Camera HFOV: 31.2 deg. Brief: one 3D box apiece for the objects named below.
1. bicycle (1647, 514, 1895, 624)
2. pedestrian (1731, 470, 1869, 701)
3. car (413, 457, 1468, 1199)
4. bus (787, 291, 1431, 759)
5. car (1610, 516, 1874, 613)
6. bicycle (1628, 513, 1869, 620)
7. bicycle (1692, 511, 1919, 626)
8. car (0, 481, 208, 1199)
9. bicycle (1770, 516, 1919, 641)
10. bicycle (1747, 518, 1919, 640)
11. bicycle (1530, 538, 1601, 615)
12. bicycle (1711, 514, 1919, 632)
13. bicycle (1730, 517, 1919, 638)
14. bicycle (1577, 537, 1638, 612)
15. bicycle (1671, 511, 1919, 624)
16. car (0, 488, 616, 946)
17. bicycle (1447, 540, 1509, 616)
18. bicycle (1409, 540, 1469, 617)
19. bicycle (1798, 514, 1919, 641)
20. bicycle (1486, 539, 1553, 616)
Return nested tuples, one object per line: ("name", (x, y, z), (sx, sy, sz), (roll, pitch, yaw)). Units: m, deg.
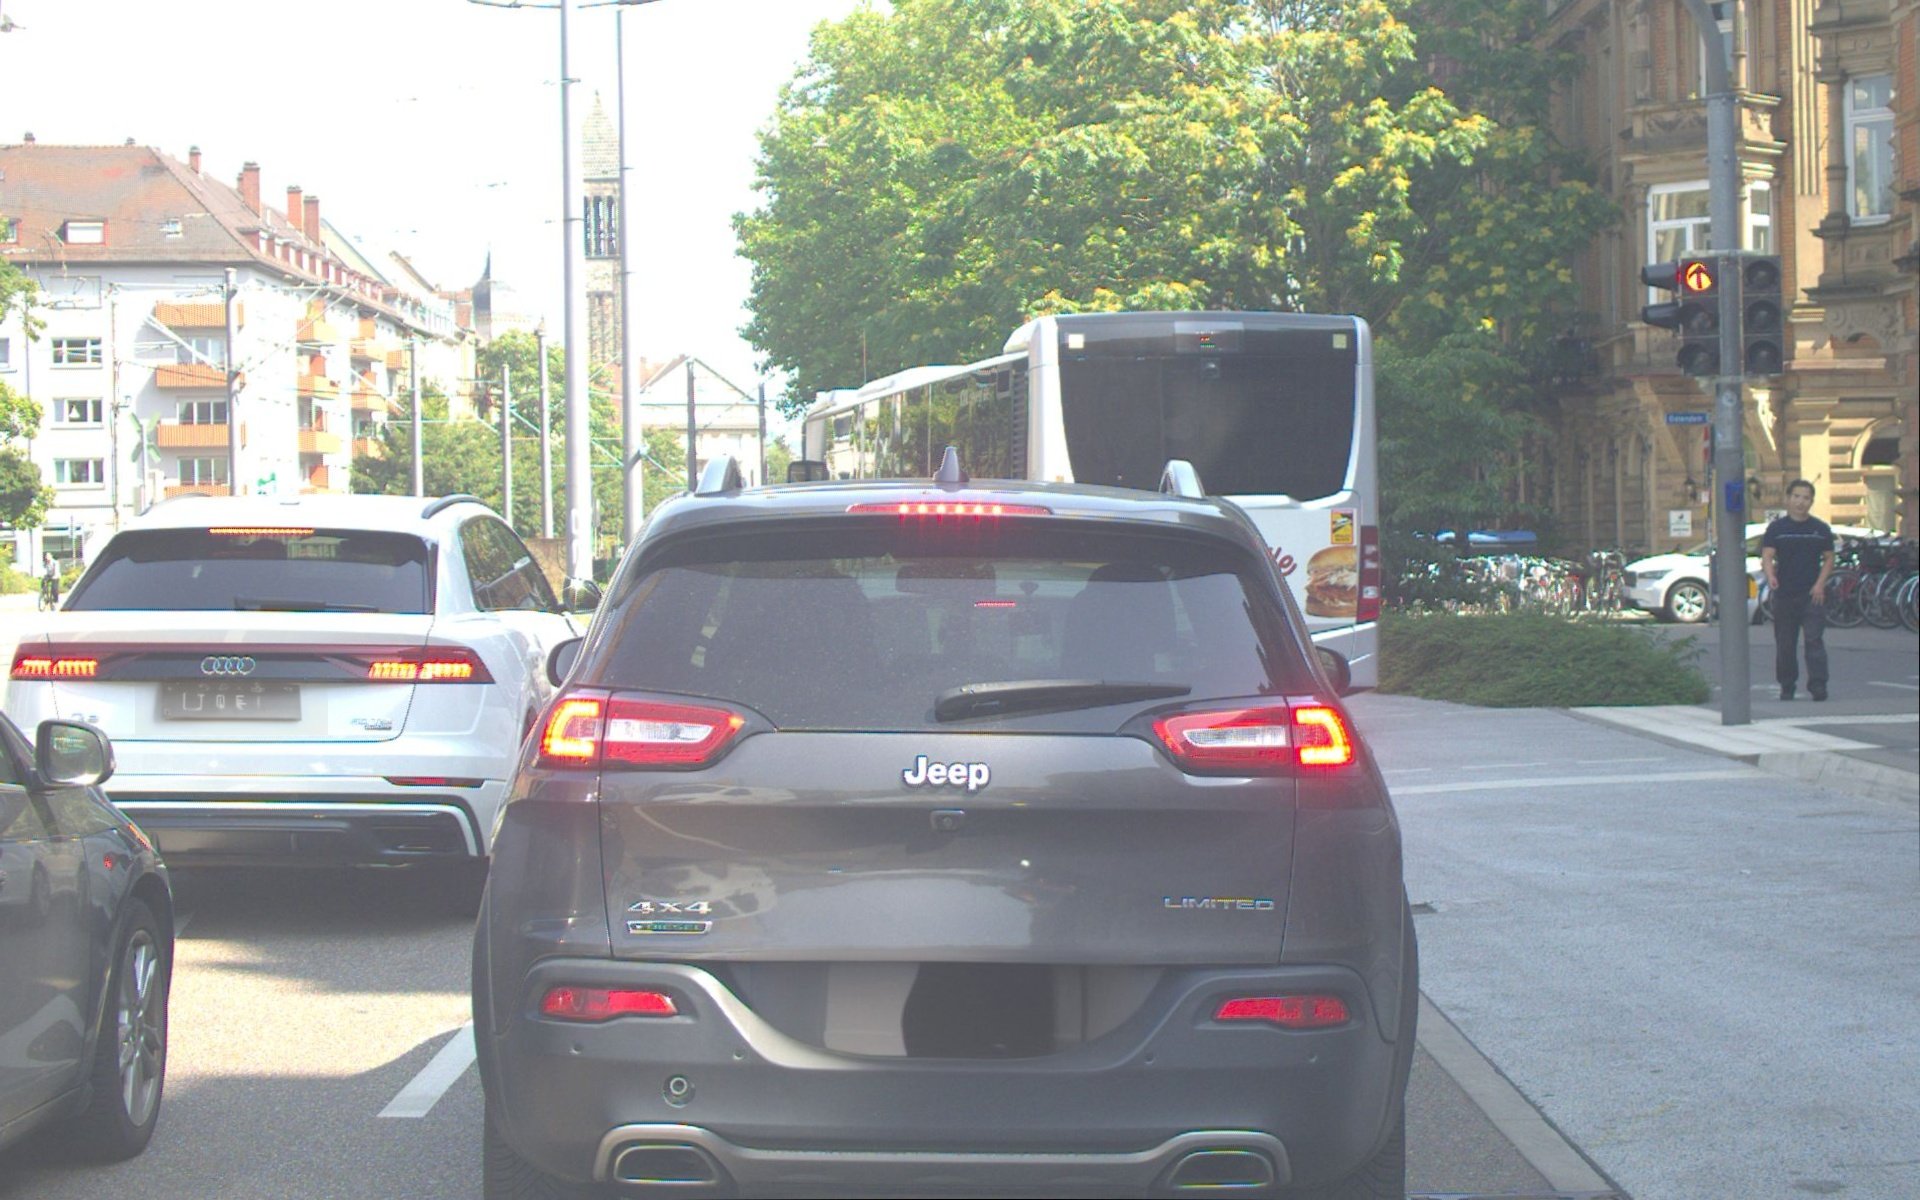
("bicycle", (10.630, -0.417, 45.139), (3.003, 1.368, 0.947), (-1, 1, -1))
("pedestrian", (6.511, -0.117, 26.681), (0.898, 1.735, 0.768), (-2, 1, 7))
("car", (-0.017, 0.536, 8.161), (1.832, 1.646, 4.308), (0, 1, 1))
("bus", (0.763, -0.568, 29.735), (2.742, 3.096, 11.959), (-4, 1, -11))
("car", (13.051, -0.600, 57.486), (3.931, 1.515, 1.683), (-1, 1, -7))
("bicycle", (10.577, -0.453, 46.181), (3.003, 1.368, 0.947), (-1, 1, -1))
("bicycle", (10.732, -0.403, 42.812), (3.003, 1.368, 0.947), (-1, 1, -1))
("car", (-2.800, 0.564, 6.714), (1.747, 1.609, 4.309), (0, 1, 0))
("bicycle", (10.781, -0.261, 38.914), (2.993, 1.366, 0.871), (-1, 1, -1))
("bicycle", (10.732, -0.261, 39.827), (2.993, 1.366, 0.871), (-1, 1, -1))
("bicycle", (10.285, -0.420, 58.471), (0.763, 1.249, 3.014), (-1, 1, 2))
("bicycle", (10.733, -0.338, 41.718), (3.003, 1.368, 0.947), (-1, 1, -1))
("bicycle", (10.745, -0.282, 40.774), (2.993, 1.366, 0.871), (-1, 1, -1))
("bicycle", (11.084, -0.444, 58.905), (0.658, 1.245, 2.412), (-1, 1, 2))
("bicycle", (10.682, -0.418, 43.822), (3.003, 1.368, 0.947), (-1, 1, -1))
("car", (-2.604, 0.373, 14.522), (1.902, 1.646, 4.309), (0, 1, 0))
("bicycle", (8.796, -0.393, 58.459), (0.649, 1.249, 3.014), (-1, 1, 1))
("bicycle", (8.135, -0.378, 58.483), (0.649, 1.249, 3.014), (-1, 1, 2))
("bicycle", (10.884, -0.272, 38.008), (2.993, 1.366, 0.871), (-1, 1, -1))
("bicycle", (9.496, -0.404, 58.457), (0.732, 1.249, 3.014), (-1, 1, 2))
